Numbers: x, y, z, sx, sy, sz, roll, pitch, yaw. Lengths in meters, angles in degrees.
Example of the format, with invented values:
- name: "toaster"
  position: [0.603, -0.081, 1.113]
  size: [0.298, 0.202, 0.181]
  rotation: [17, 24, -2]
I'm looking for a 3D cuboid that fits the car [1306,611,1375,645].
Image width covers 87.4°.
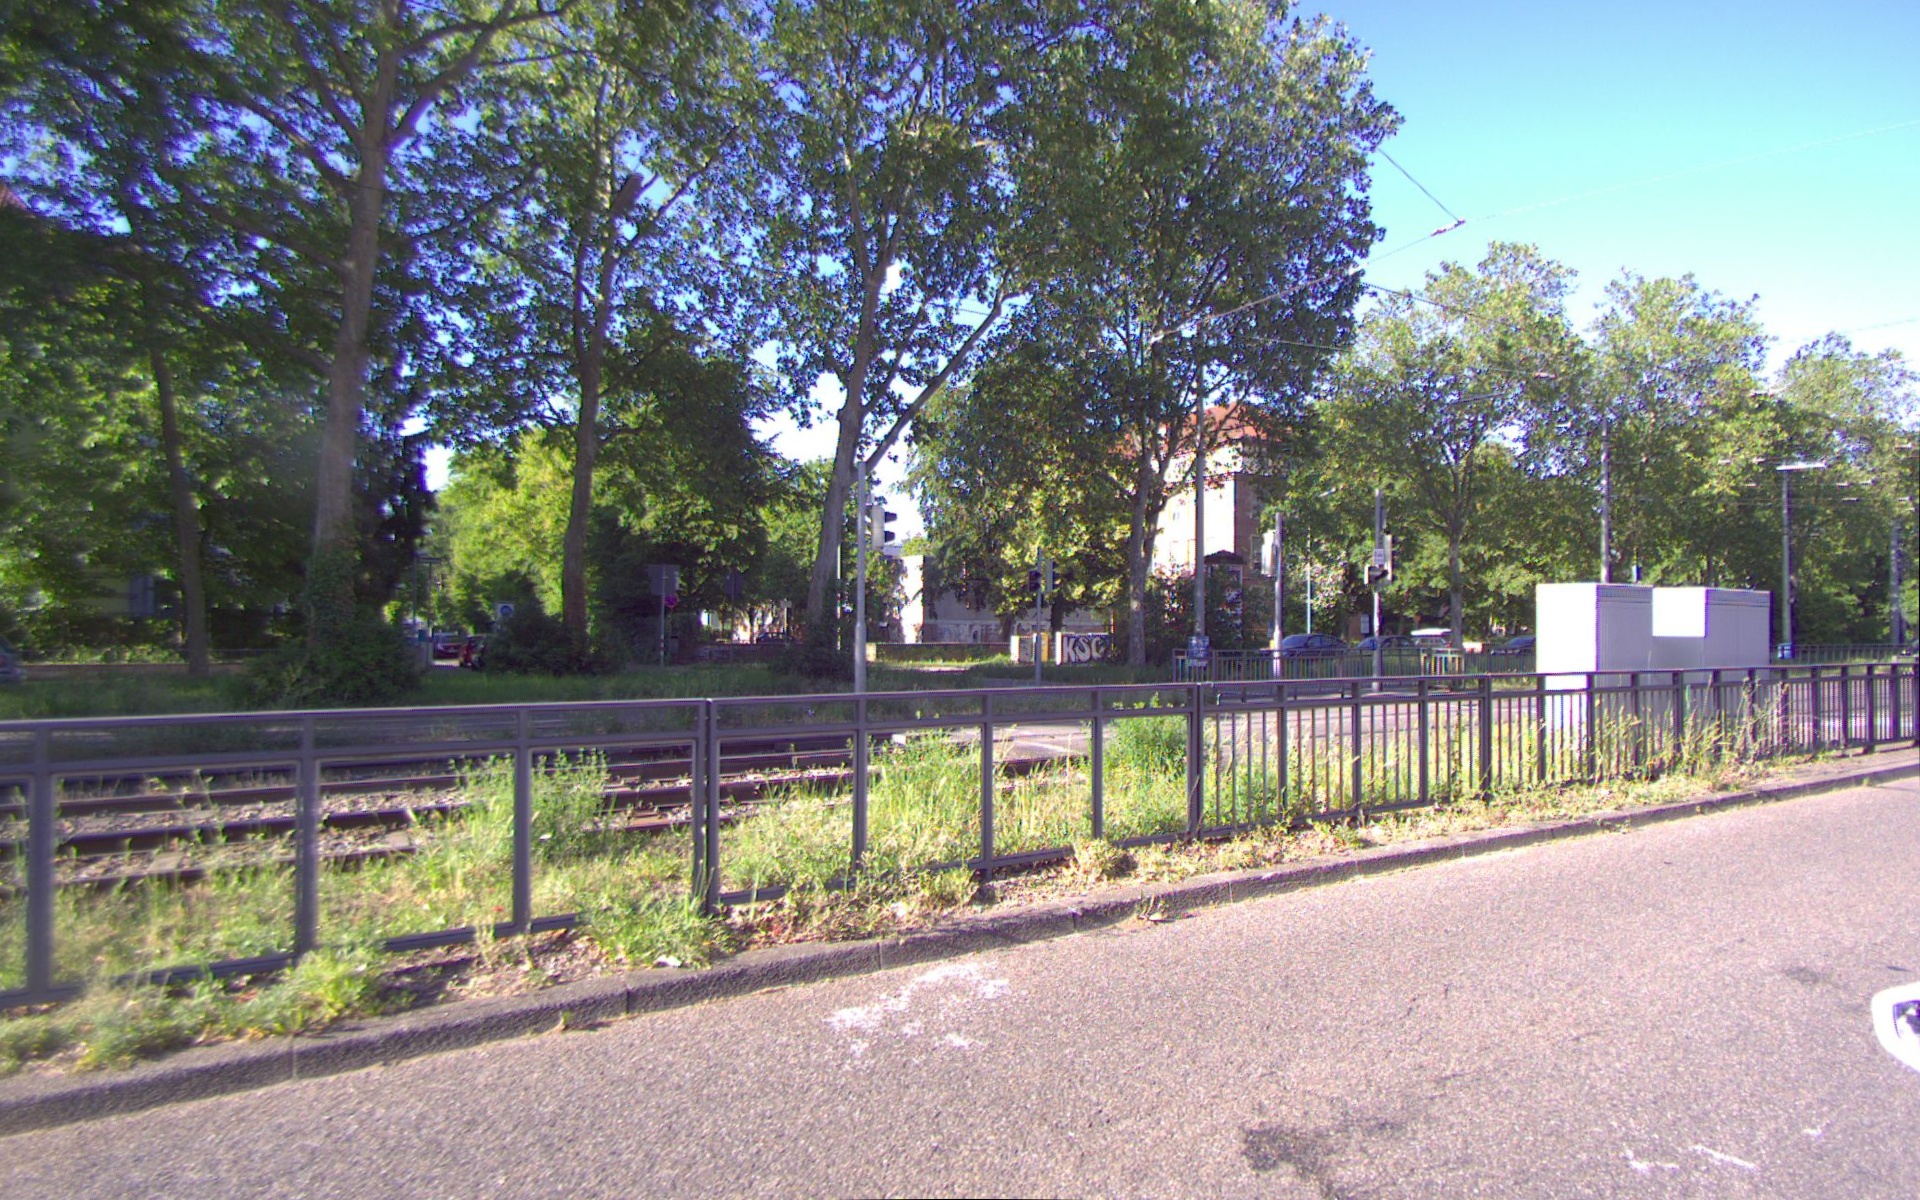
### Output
- name: "car"
  position: [23.433, 1.698, 61.838]
  size: [3.953, 2.040, 1.984]
  rotation: [1, -1, -31]

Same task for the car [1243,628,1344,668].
- name: "car"
  position: [13.568, 1.929, 40.819]
  size: [4.099, 1.529, 1.660]
  rotation: [1, -2, -32]

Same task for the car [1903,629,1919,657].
- name: "car"
  position: [53.764, 2.384, 55.395]
  size: [4.297, 1.518, 1.674]
  rotation: [1, -1, -34]

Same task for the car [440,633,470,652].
- name: "car"
  position: [-31.189, 2.596, 61.964]
  size: [1.513, 1.134, 3.102]
  rotation: [1, -2, -29]

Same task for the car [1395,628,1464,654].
- name: "car"
  position: [29.167, 2.519, 62.494]
  size: [1.375, 1.514, 3.974]
  rotation: [1, -1, -26]

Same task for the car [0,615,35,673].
- name: "car"
  position: [-20.469, 0.852, 19.695]
  size: [3.184, 1.131, 1.463]
  rotation: [1, -1, -34]
